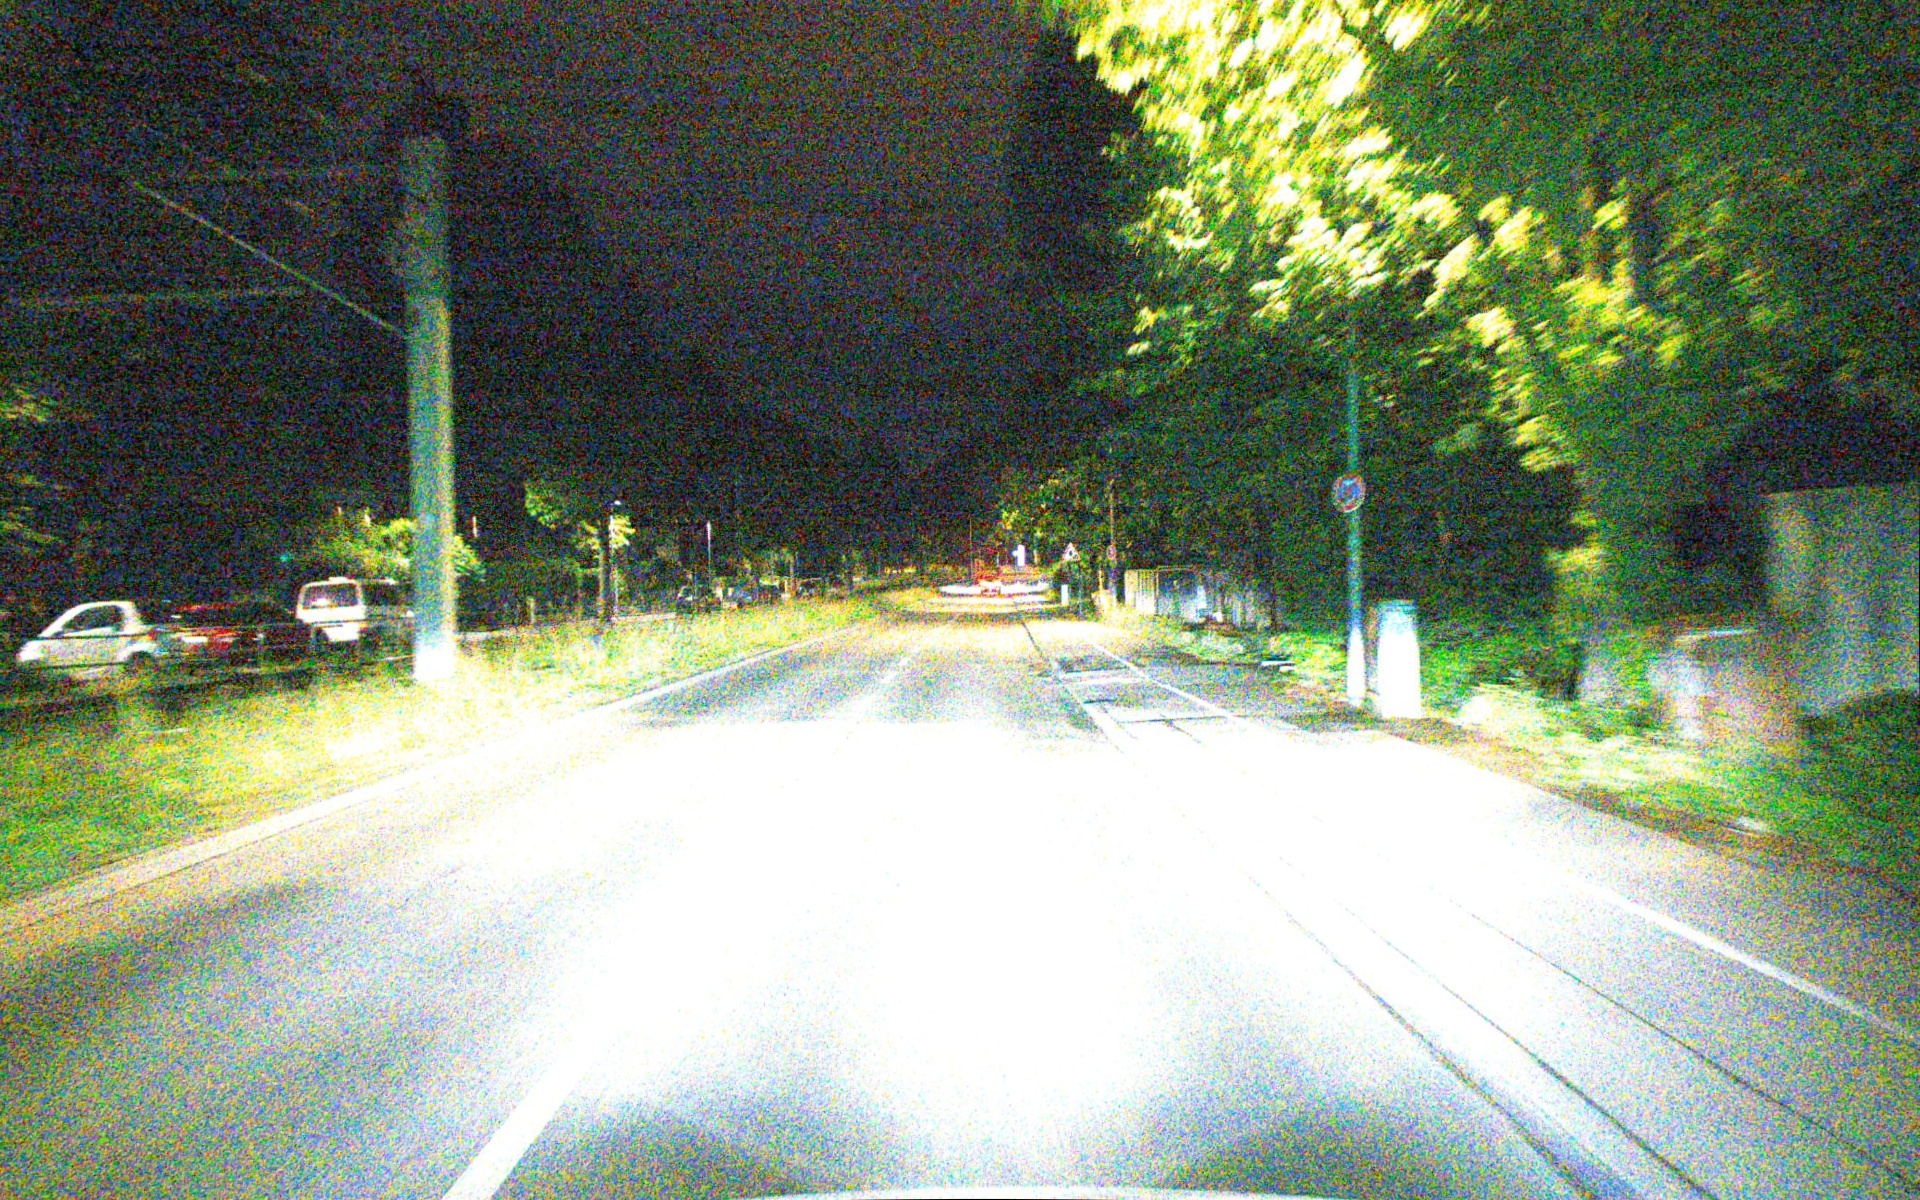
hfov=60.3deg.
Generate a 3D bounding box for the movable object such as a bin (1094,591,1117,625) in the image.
[{"bbox_3d":[5.262,0.284,59.849,0.816,1.202,0.829,0,0,4],"label":"movable object such as a bin"}]

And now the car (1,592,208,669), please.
[{"bbox_3d":[-15.564,0.546,30.200,2.968,1.349,1.532,0,0,-4],"label":"car"}]

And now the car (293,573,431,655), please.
[{"bbox_3d":[-15.005,0.323,41.785,1.819,1.937,4.878,0,0,-2],"label":"car"}]

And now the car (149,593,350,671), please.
[{"bbox_3d":[-15.177,0.636,35.704,1.862,1.549,5.174,0,0,3],"label":"car"}]

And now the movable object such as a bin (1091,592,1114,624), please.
[{"bbox_3d":[5.235,0.291,60.726,0.839,1.139,0.841,0,0,4],"label":"movable object such as a bin"}]

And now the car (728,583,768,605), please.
[{"bbox_3d":[-14.037,-0.405,109.812,1.952,1.361,5.432,-1,0,0],"label":"car"}]

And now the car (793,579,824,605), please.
[{"bbox_3d":[-12.824,-0.703,140.341,2.049,2.048,4.000,-5,1,0],"label":"car"}]

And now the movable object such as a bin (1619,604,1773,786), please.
[{"bbox_3d":[4.869,0.607,10.990,0.708,1.141,0.894,-1,0,8],"label":"movable object such as a bin"}]

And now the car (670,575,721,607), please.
[{"bbox_3d":[-14.373,-0.497,90.066,1.952,1.656,4.677,-1,0,0],"label":"car"}]

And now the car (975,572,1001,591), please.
[{"bbox_3d":[2.449,-1.627,145.727,2.118,1.610,4.011,0,0,-2],"label":"car"}]

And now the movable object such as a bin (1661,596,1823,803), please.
[{"bbox_3d":[4.785,0.589,10.165,0.708,1.222,0.720,-1,0,8],"label":"movable object such as a bin"}]
